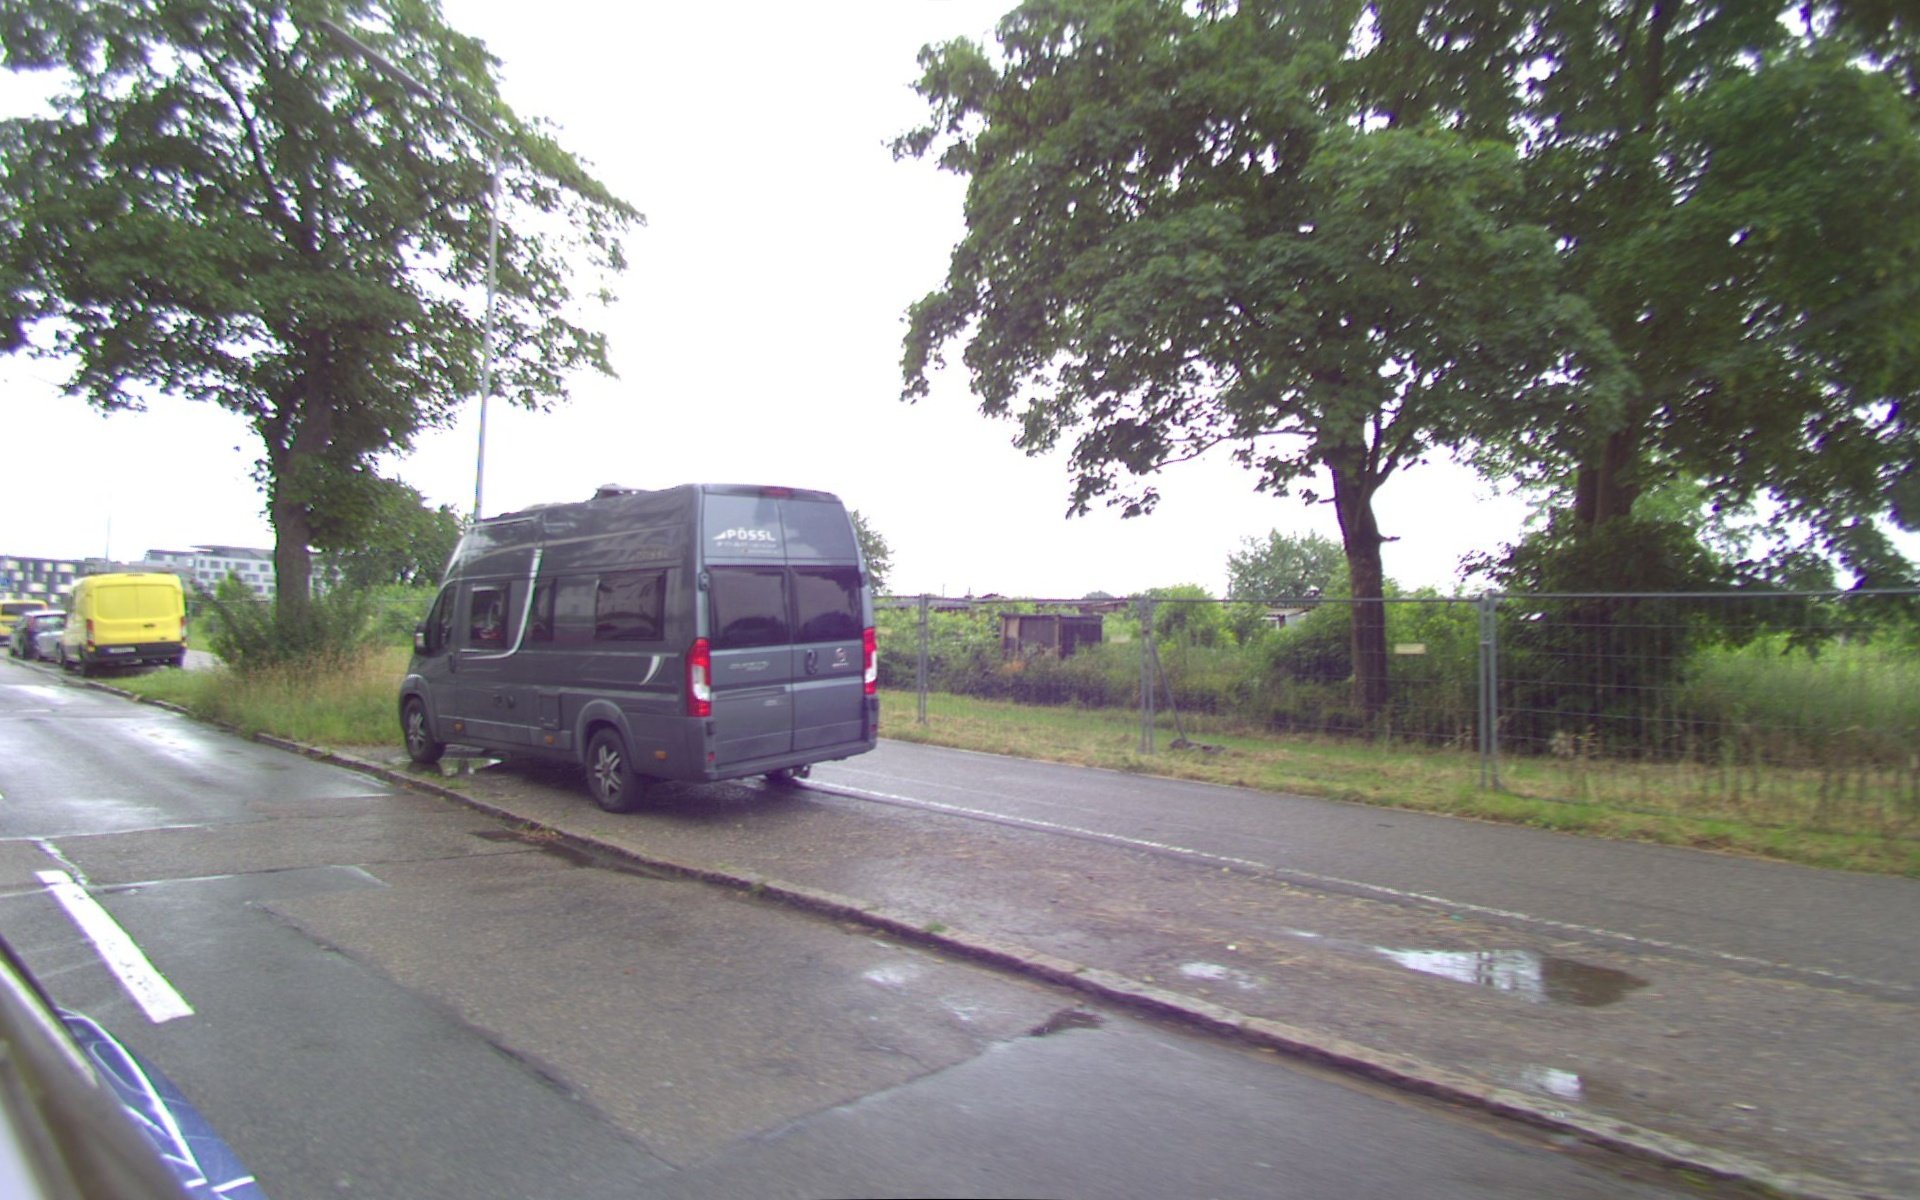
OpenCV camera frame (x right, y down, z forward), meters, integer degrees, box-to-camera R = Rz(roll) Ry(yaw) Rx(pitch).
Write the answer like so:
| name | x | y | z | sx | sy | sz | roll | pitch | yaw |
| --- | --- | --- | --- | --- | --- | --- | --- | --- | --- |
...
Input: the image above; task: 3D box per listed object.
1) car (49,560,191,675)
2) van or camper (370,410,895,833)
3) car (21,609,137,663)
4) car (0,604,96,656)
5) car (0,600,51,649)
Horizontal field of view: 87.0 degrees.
| name | x | y | z | sx | sy | sz | roll | pitch | yaw |
| --- | --- | --- | --- | --- | --- | --- | --- | --- | --- |
| car | -22.243 | 0.434 | 26.695 | 6.082 | 2.715 | 2.167 | 0 | -1 | 43 |
| van or camper | -3.688 | 0.144 | 10.360 | 6.420 | 3.117 | 2.073 | 0 | 0 | 41 |
| car | -26.925 | 1.031 | 30.856 | 5.337 | 1.445 | 1.989 | 0 | 0 | 41 |
| car | -31.030 | 0.949 | 34.262 | 5.014 | 1.606 | 1.973 | 0 | 0 | 41 |
| car | -40.074 | 0.978 | 42.599 | 6.063 | 1.971 | 1.996 | 0 | -1 | 42 |
